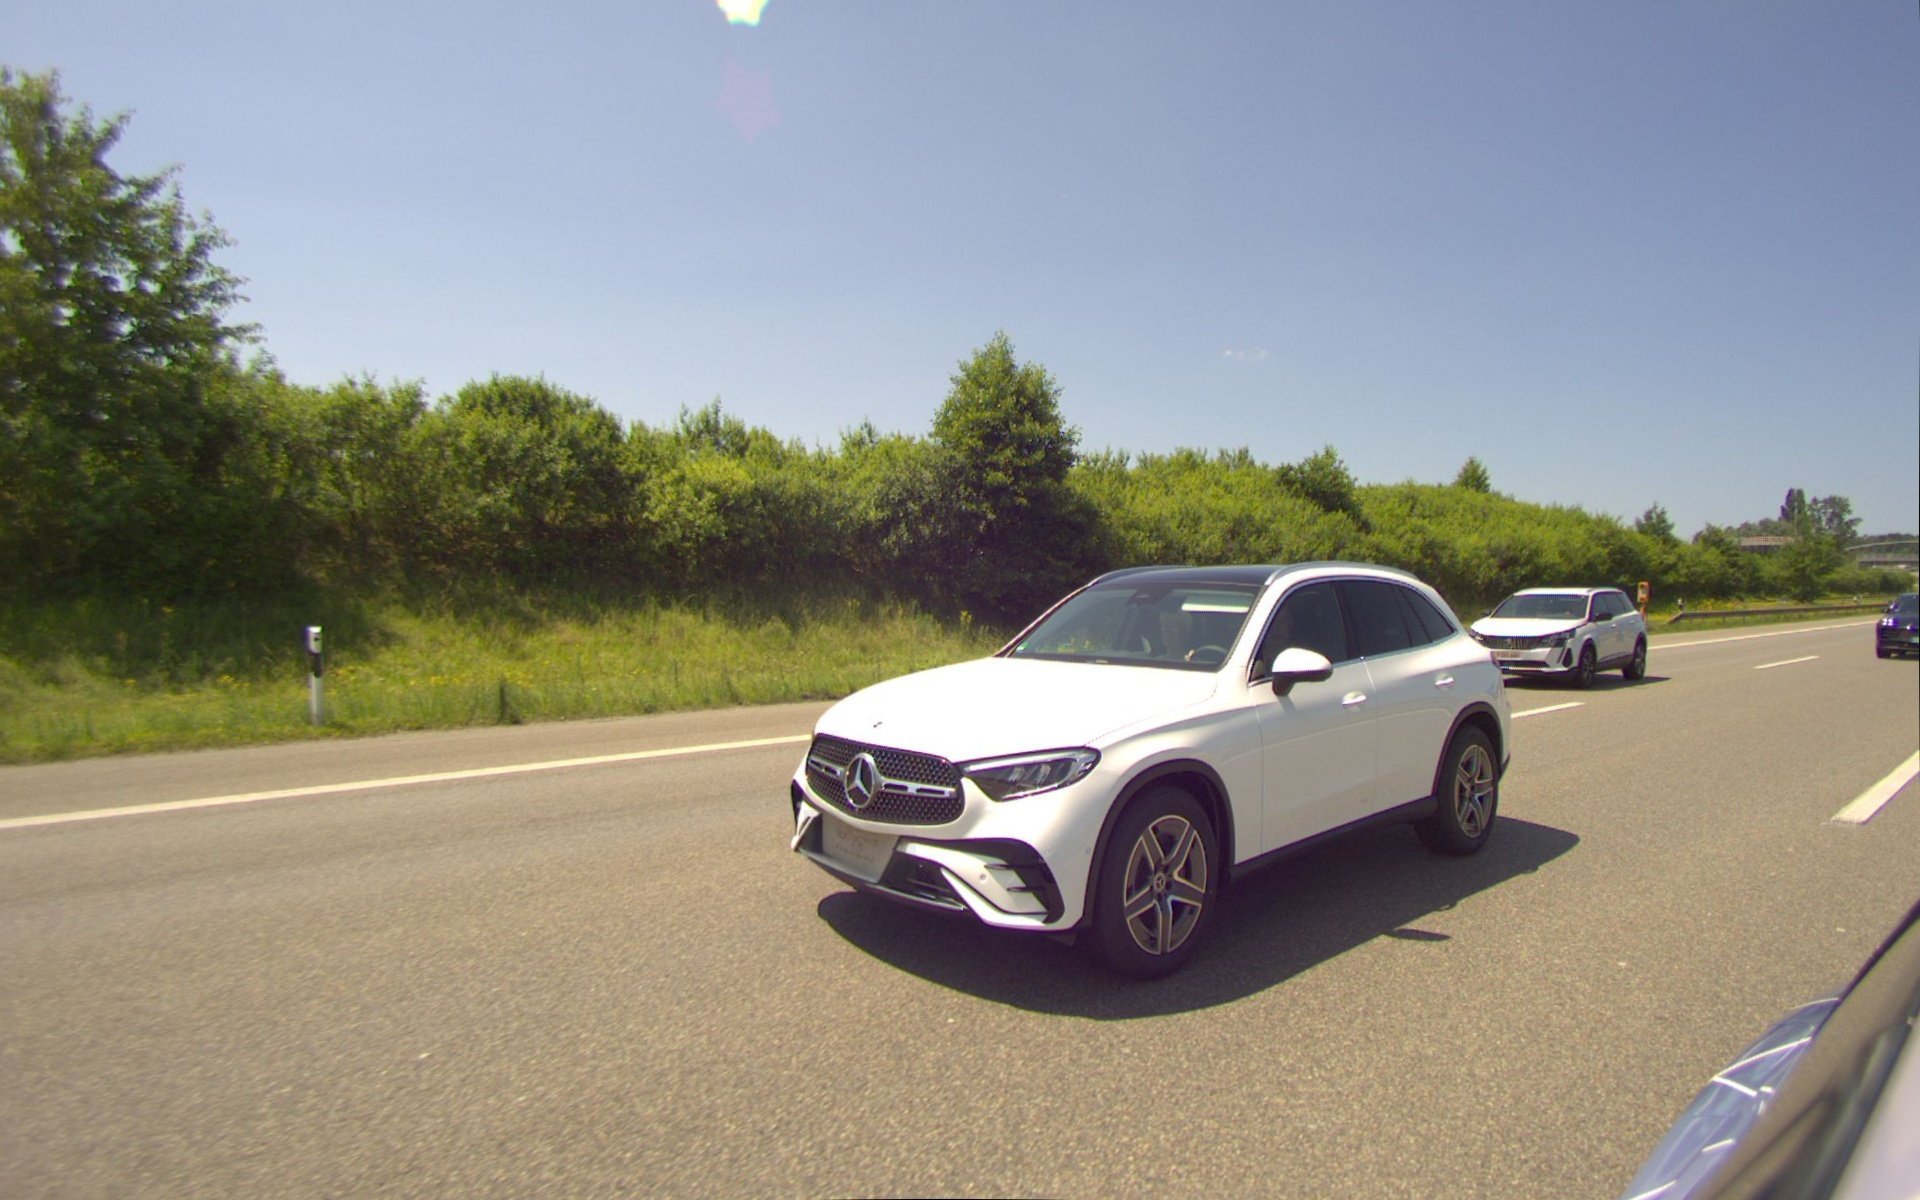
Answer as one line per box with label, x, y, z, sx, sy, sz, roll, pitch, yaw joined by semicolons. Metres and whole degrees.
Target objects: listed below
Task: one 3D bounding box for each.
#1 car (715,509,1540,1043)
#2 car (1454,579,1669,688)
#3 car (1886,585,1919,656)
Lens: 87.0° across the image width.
car;1.211;0.548;5.411;4.555;1.677;1.908;0;0;-41
car;10.593;0.483;17.686;4.536;1.650;1.897;-1;1;-41
car;24.533;0.456;25.083;4.539;1.650;1.980;-1;1;-43
